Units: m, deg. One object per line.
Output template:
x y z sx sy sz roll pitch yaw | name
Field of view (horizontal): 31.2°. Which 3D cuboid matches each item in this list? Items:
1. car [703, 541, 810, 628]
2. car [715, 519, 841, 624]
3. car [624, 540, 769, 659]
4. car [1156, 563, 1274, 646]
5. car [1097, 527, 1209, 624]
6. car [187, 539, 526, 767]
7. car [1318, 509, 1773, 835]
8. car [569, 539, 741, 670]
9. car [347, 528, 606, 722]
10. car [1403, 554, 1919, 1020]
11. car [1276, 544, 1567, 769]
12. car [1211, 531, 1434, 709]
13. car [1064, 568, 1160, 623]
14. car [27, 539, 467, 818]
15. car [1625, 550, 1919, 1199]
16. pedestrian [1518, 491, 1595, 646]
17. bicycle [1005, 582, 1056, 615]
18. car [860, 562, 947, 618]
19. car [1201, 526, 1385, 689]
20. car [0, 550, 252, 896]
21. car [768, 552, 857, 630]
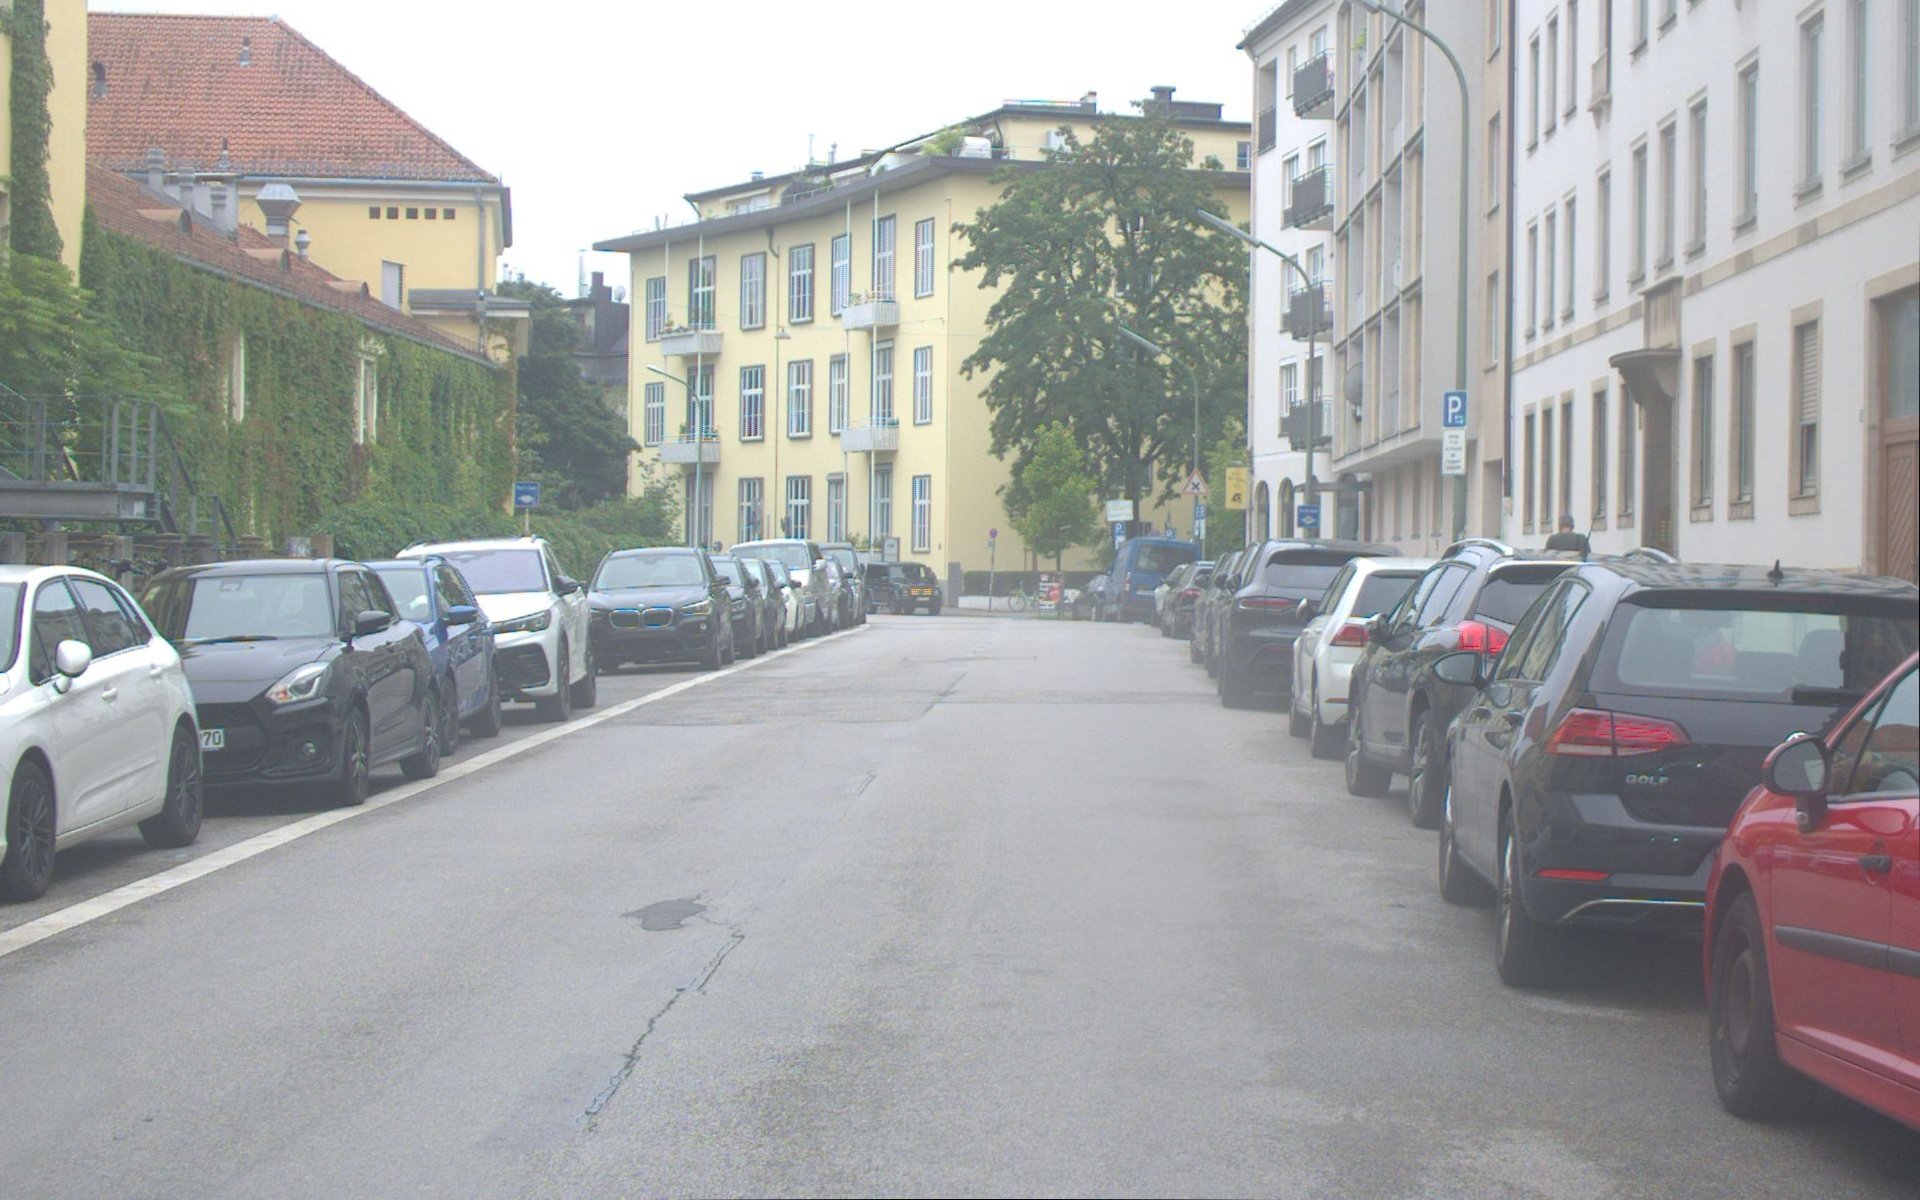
-3.537 -0.273 60.266 1.591 1.436 4.019 -1 0 0 | car
-3.432 -0.538 65.721 1.887 1.883 4.773 -2 0 3 | car
-3.783 -0.020 49.941 1.724 1.624 4.466 -1 0 0 | car
4.739 0.060 64.397 1.745 1.383 4.954 3 0 0 | car
5.090 -0.612 91.395 2.079 2.226 5.245 5 -2 -4 | car
-4.543 0.358 26.506 1.703 1.497 4.495 -4 0 0 | car
3.209 0.328 19.689 1.706 1.587 4.362 3 1 -1 | car
-3.943 0.040 45.087 1.789 1.581 4.818 -2 0 0 | car
-4.334 0.186 31.467 1.745 1.628 4.857 0 1 -1 | car
2.714 0.568 13.040 1.688 1.397 4.363 2 1 3 | car
3.377 0.348 25.883 1.672 1.424 4.530 3 2 2 | car
3.415 0.163 33.148 1.840 1.517 4.708 3 0 3 | car
4.282 -0.131 97.575 1.676 1.384 4.307 5 0 -10 | car
-4.305 0.426 21.386 1.699 1.492 4.149 -2 0 2 | car
2.871 0.686 7.991 1.687 1.495 4.147 3 1 -1 | car
6.917 -0.360 39.909 0.723 1.757 0.904 2 -1 3 | pedestrian
2.632 -0.061 129.009 1.926 1.197 0.594 2 0 39 | bicycle
-2.124 -0.382 128.226 1.762 1.868 4.380 5 -1 -20 | car
3.626 0.056 38.065 1.645 1.584 4.634 4 1 2 | car
-4.812 0.546 16.169 1.785 1.427 4.652 -4 0 2 | car
-3.228 -0.212 76.025 1.697 1.637 4.490 -1 0 1 | car
